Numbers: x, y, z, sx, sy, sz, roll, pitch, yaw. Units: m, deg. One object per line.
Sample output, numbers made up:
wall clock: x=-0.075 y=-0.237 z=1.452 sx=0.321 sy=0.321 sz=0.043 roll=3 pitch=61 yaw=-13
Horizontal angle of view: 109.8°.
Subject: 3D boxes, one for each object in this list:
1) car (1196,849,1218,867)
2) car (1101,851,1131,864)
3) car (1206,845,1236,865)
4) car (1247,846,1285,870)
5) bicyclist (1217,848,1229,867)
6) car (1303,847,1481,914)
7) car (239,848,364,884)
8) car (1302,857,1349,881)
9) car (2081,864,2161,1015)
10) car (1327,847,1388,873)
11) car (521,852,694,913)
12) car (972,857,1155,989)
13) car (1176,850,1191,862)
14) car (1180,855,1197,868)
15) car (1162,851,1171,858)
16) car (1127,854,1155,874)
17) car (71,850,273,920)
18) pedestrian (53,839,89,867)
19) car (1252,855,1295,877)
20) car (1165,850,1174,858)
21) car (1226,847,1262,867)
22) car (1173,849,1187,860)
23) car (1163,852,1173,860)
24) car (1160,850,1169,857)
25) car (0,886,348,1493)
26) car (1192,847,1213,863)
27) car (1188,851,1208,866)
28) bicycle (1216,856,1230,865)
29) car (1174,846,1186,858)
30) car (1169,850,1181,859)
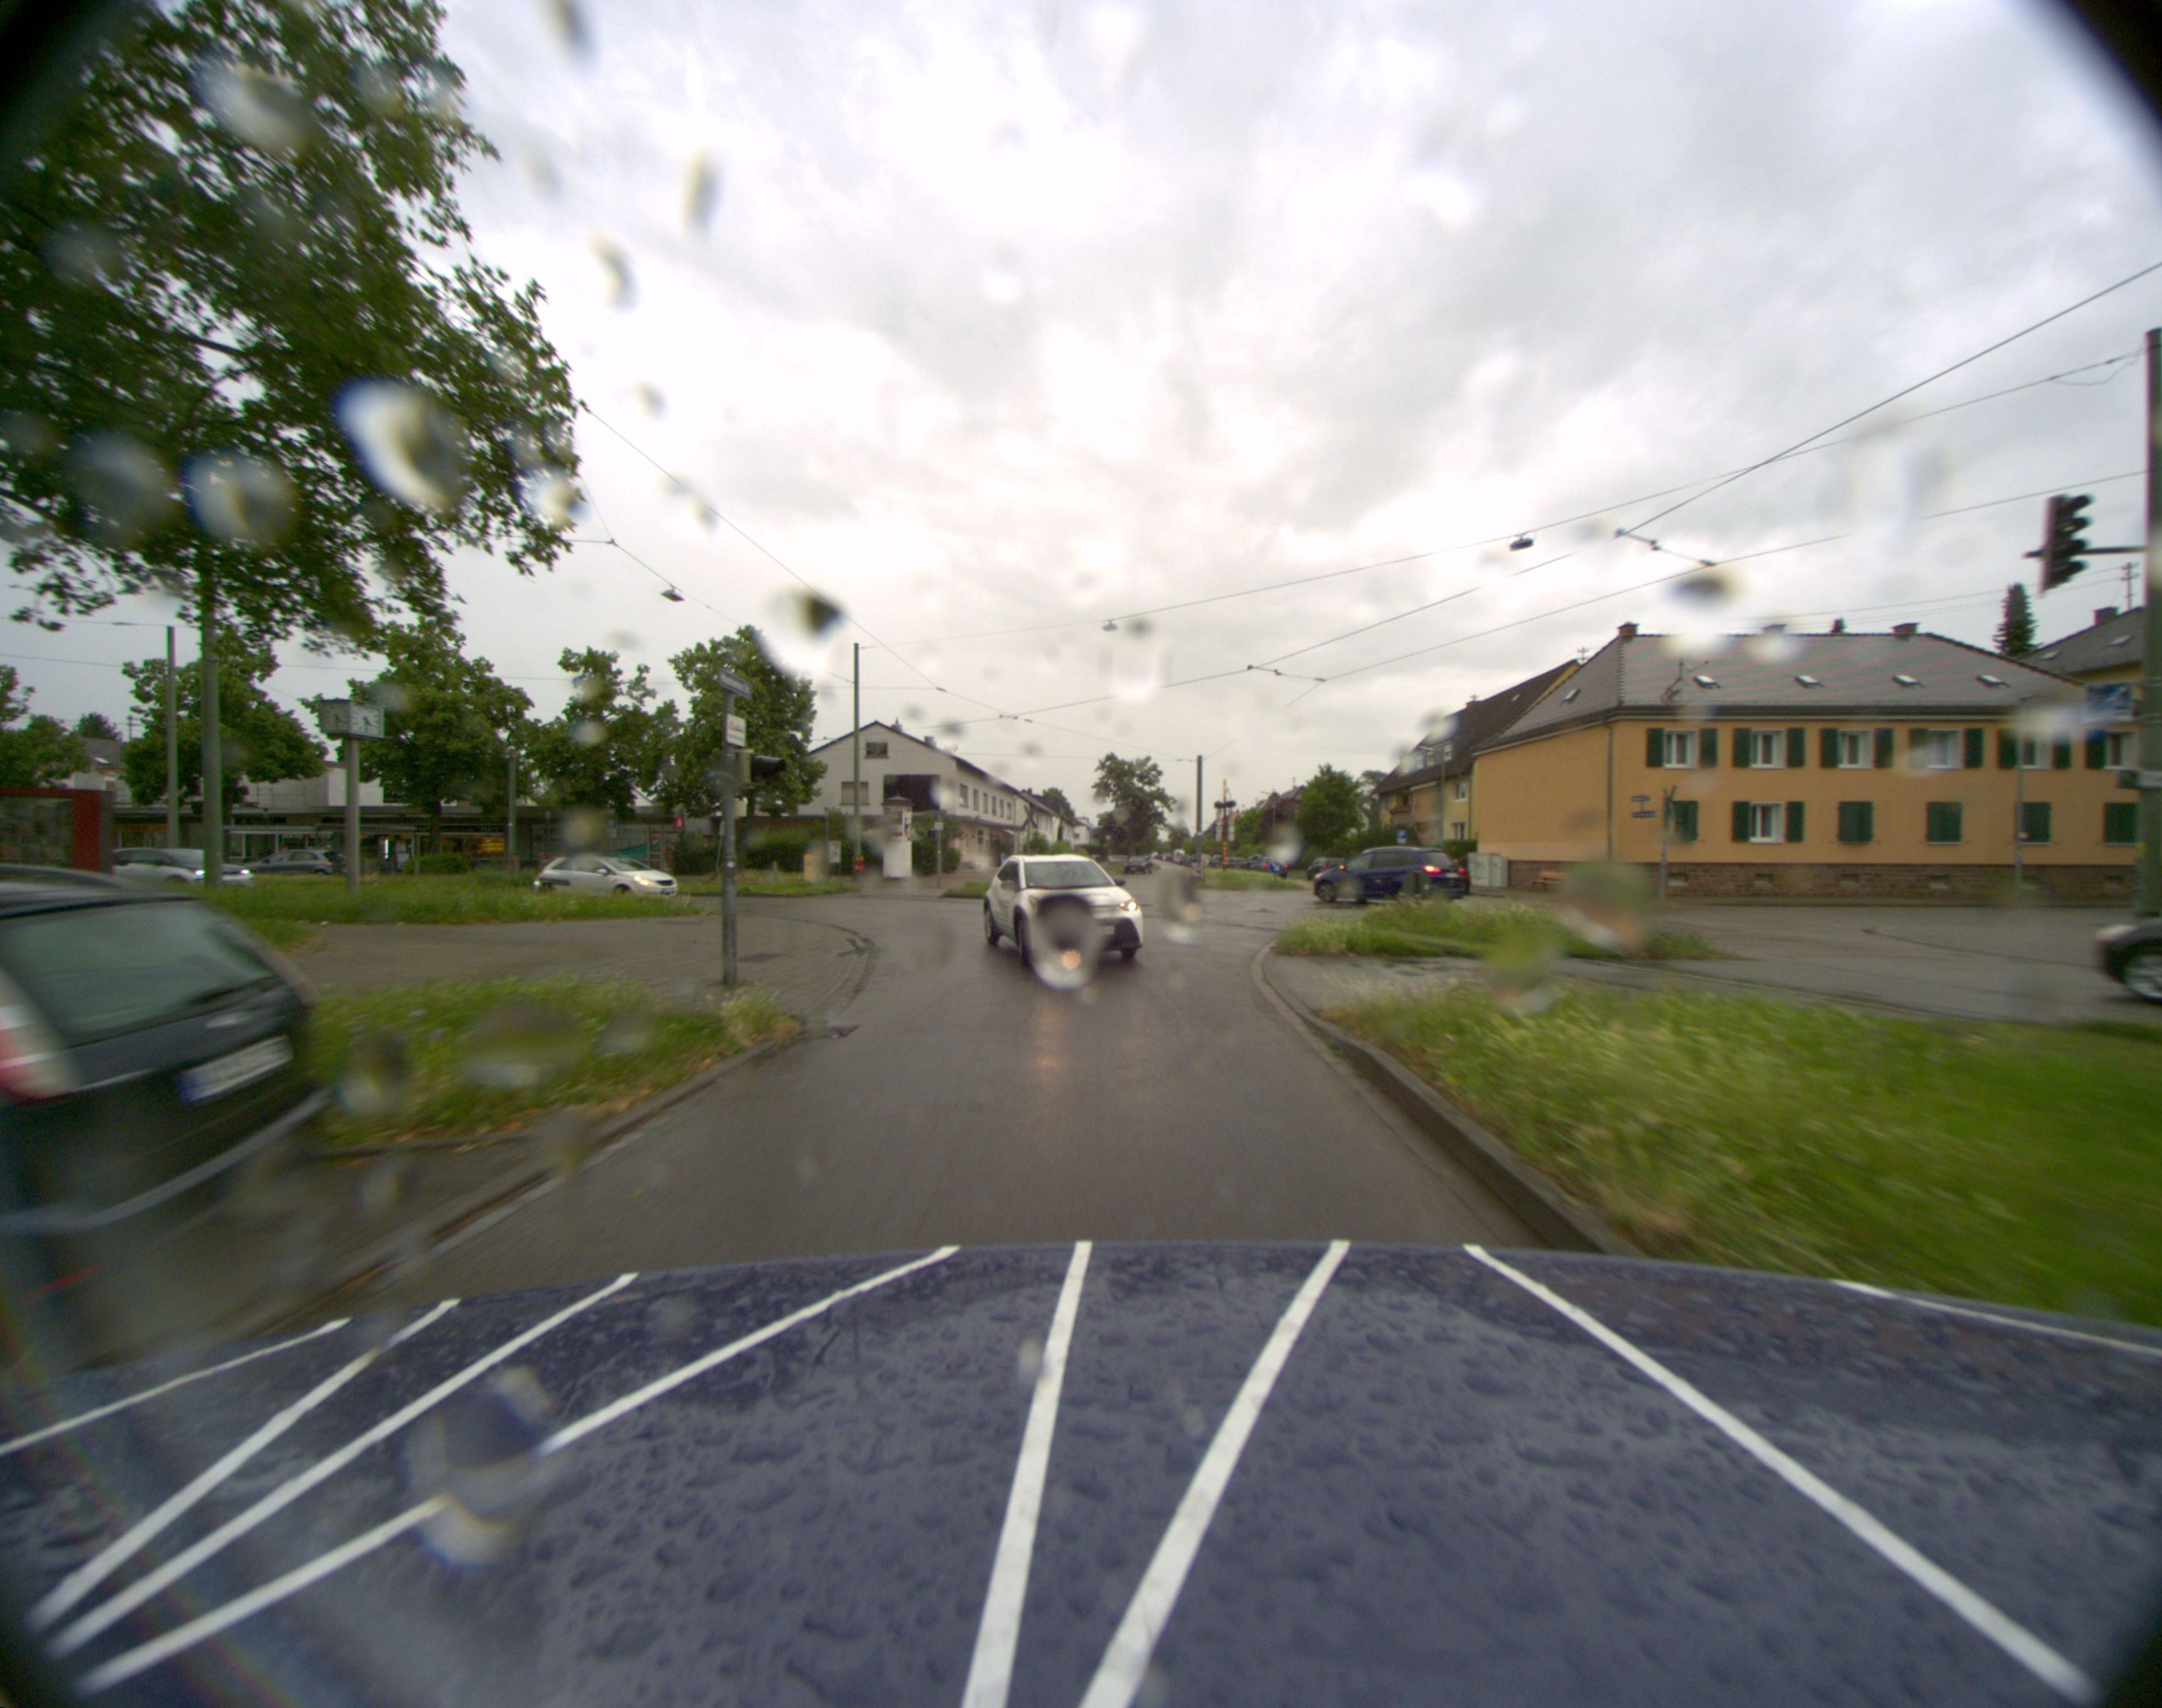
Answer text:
car: x=14.203 y=0.424 z=85.865 sx=1.998 sy=1.784 sz=3.999 roll=0 pitch=2 yaw=2
car: x=4.787 y=0.476 z=103.063 sx=3.996 sy=1.673 sz=1.999 roll=0 pitch=3 yaw=2
car: x=13.770 y=0.074 z=75.006 sx=1.999 sy=1.784 sz=3.997 roll=0 pitch=2 yaw=-3
car: x=15.395 y=0.320 z=63.451 sx=1.999 sy=1.784 sz=3.997 roll=0 pitch=2 yaw=-4
bicyclist: x=12.468 y=0.304 z=66.766 sx=0.949 sy=1.588 sz=1.042 roll=0 pitch=0 yaw=2
car: x=8.937 y=0.668 z=22.295 sx=2.003 sy=1.597 sz=4.560 roll=-1 pitch=3 yaw=-29
car: x=-35.061 y=0.512 z=34.261 sx=3.624 sy=1.495 sz=1.549 roll=0 pitch=3 yaw=-13
car: x=15.743 y=0.936 z=49.079 sx=1.758 sy=1.325 sz=3.998 roll=0 pitch=2 yaw=1
car: x=11.551 y=0.935 z=6.145 sx=1.740 sy=1.478 sz=4.000 roll=0 pitch=2 yaw=5
car: x=15.897 y=0.303 z=43.861 sx=1.965 sy=1.388 sz=4.505 roll=0 pitch=1 yaw=1
car: x=-14.102 y=0.810 z=22.781 sx=3.995 sy=1.544 sz=1.964 roll=2 pitch=2 yaw=4
car: x=-0.446 y=0.902 z=11.812 sx=1.722 sy=1.614 sz=3.708 roll=-2 pitch=1 yaw=-20
car: x=16.434 y=0.361 z=121.868 sx=1.998 sy=1.784 sz=3.999 roll=0 pitch=2 yaw=2
car: x=15.475 y=1.067 z=109.526 sx=1.998 sy=1.784 sz=3.999 roll=0 pitch=2 yaw=2
car: x=22.321 y=0.061 z=198.729 sx=1.998 sy=1.784 sz=3.999 roll=0 pitch=2 yaw=2
car: x=5.219 y=0.827 z=65.563 sx=1.786 sy=1.454 sz=4.003 roll=1 pitch=3 yaw=13
car: x=-28.307 y=0.910 z=23.767 sx=3.996 sy=2.003 sz=2.000 roll=0 pitch=3 yaw=4
pedestrian: x=-62.852 y=-0.081 z=47.297 sx=0.946 sy=1.704 sz=1.081 roll=1 pitch=1 yaw=16
car: x=12.951 y=0.782 z=51.252 sx=1.998 sy=1.467 sz=4.000 roll=0 pitch=0 yaw=2
car: x=21.053 y=-0.031 z=180.756 sx=1.998 sy=1.784 sz=3.999 roll=0 pitch=2 yaw=2
car: x=14.629 y=0.233 z=68.398 sx=1.999 sy=1.565 sz=4.123 roll=0 pitch=2 yaw=-4
car: x=17.287 y=0.019 z=132.558 sx=1.998 sy=1.784 sz=3.999 roll=0 pitch=2 yaw=2
car: x=21.189 y=0.588 z=185.635 sx=1.998 sy=1.784 sz=3.999 roll=0 pitch=2 yaw=2
car: x=22.513 y=-0.148 z=205.282 sx=1.998 sy=1.784 sz=3.999 roll=0 pitch=2 yaw=2
car: x=-4.924 y=0.879 z=1.832 sx=4.183 sy=1.467 sz=1.800 roll=0 pitch=0 yaw=-27
car: x=14.951 y=0.105 z=93.602 sx=1.998 sy=1.784 sz=3.999 roll=0 pitch=2 yaw=2
car: x=15.259 y=0.565 z=99.172 sx=1.998 sy=1.784 sz=3.999 roll=0 pitch=2 yaw=2
bicycle: x=12.479 y=0.575 z=66.808 sx=0.941 sy=0.782 sz=1.820 roll=0 pitch=0 yaw=2
car: x=18.146 y=-0.323 z=139.577 sx=1.998 sy=2.023 sz=3.999 roll=0 pitch=3 yaw=4
car: x=20.004 y=0.026 z=161.884 sx=1.998 sy=1.784 sz=3.999 roll=0 pitch=2 yaw=2
